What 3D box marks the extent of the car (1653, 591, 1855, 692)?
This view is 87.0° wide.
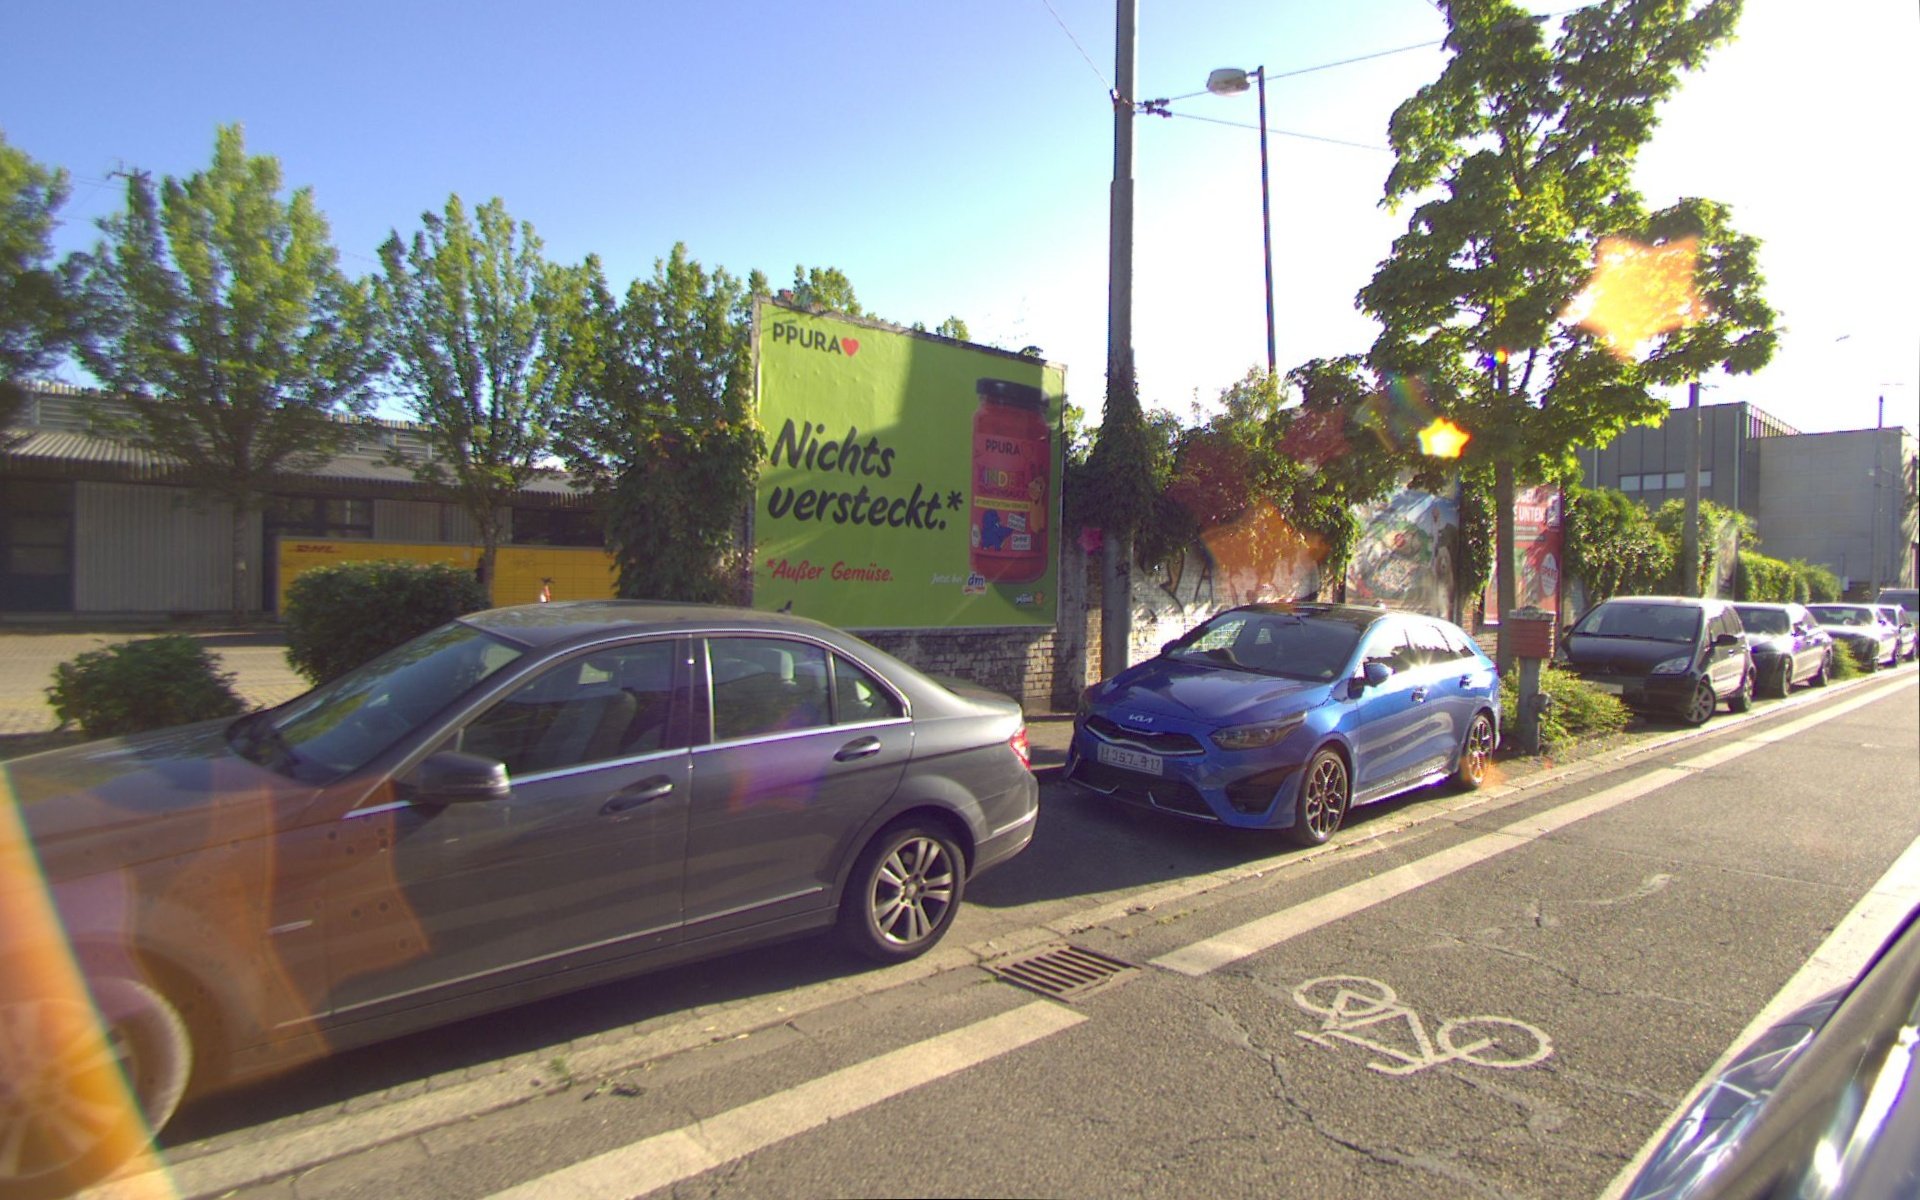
[{"bbox_3d":[13.772,0.614,17.455,4.559,1.470,1.828,0,2,-40],"label":"car"}]

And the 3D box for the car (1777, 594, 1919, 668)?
[{"bbox_3d":[20.217,0.631,22.908,4.519,1.503,1.828,0,0,-40],"label":"car"}]

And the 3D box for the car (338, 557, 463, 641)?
[{"bbox_3d":[-11.250,-0.073,20.249,1.708,1.515,3.321,0,2,-38],"label":"car"}]

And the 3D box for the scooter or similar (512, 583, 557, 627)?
[{"bbox_3d":[-9.921,0.106,23.633,0.321,0.986,1.179,0,0,14],"label":"scooter or similar"}]

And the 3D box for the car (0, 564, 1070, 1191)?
[{"bbox_3d":[-1.726,0.643,3.974,4.418,1.482,1.731,0,0,-40],"label":"car"}]

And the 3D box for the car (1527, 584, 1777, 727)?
[{"bbox_3d":[9.103,0.600,13.216,3.749,1.511,1.828,0,4,-42],"label":"car"}]

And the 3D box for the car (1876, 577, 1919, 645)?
[{"bbox_3d":[30.509,0.336,31.716,5.147,2.016,1.859,0,2,-39],"label":"car"}]

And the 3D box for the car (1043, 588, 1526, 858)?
[{"bbox_3d":[2.676,0.657,7.684,4.270,1.482,1.729,0,0,-45],"label":"car"}]

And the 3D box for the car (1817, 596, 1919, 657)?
[{"bbox_3d":[24.587,0.653,27.017,4.001,1.491,1.877,0,0,-39],"label":"car"}]
